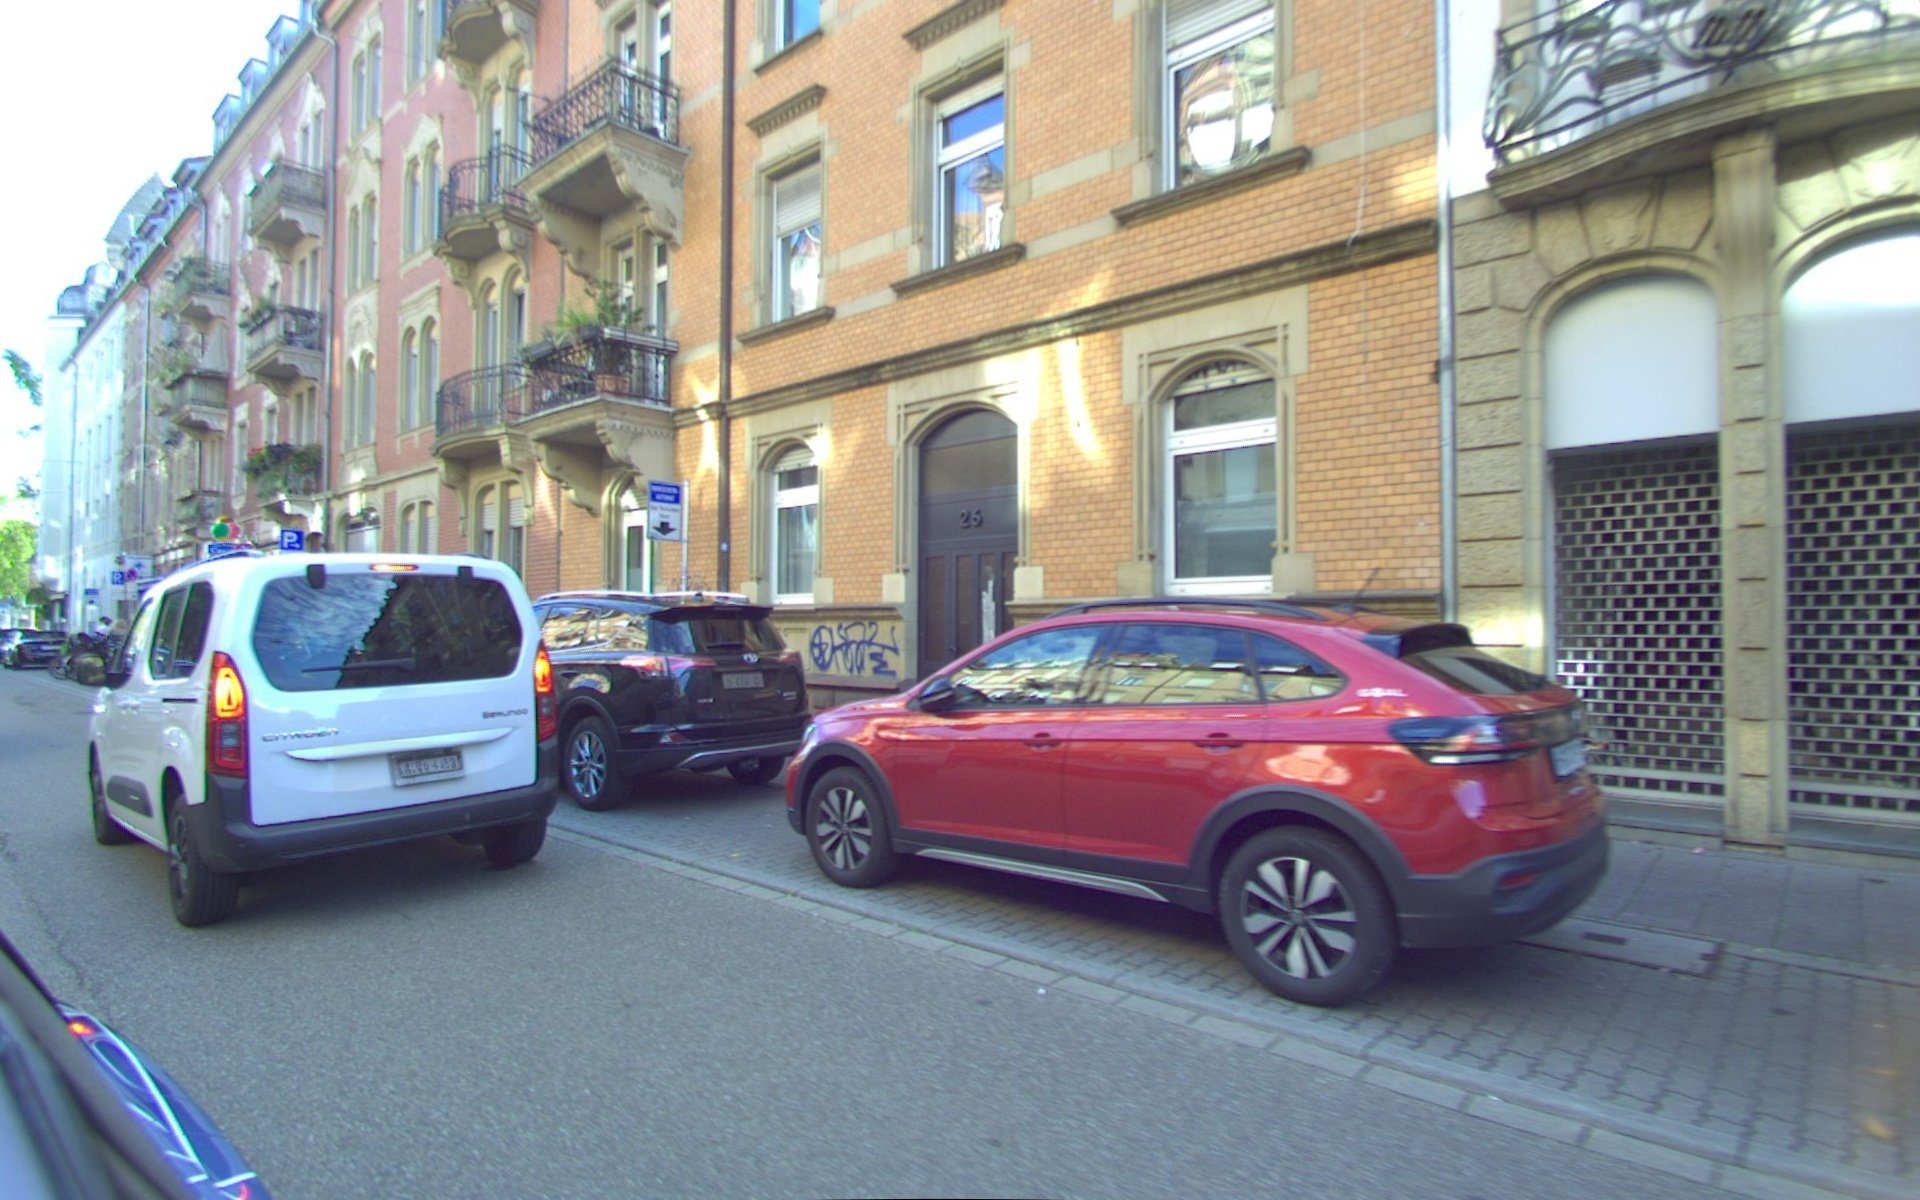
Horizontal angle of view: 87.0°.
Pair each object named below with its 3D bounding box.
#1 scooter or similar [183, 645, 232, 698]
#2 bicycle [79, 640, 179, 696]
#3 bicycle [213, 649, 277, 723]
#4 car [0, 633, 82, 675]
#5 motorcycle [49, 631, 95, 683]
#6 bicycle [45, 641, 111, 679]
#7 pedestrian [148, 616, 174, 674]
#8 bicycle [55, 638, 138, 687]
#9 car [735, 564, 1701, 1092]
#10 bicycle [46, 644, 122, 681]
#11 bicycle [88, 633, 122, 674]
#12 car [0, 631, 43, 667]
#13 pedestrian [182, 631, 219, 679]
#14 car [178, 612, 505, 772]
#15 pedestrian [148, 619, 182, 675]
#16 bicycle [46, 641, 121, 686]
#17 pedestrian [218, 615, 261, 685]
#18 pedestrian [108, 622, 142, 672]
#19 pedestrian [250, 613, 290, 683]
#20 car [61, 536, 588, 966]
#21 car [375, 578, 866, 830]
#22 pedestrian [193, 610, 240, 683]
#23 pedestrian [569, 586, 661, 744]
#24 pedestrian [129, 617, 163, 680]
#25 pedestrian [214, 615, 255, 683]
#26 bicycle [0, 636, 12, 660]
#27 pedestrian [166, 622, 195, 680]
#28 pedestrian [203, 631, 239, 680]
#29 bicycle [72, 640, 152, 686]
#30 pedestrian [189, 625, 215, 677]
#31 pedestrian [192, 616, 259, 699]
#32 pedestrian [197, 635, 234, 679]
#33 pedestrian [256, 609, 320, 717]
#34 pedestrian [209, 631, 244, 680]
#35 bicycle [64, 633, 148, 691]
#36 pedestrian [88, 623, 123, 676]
[{"bbox_3d":[-16.088,1.514,21.638,0.920,1.063,0.600,-2,-1,37],"label":"scooter or similar"},{"bbox_3d":[-19.136,1.529,23.377,0.795,1.168,2.275,-1,-1,-11],"label":"bicycle"},{"bbox_3d":[-11.732,1.373,16.647,0.475,1.067,1.911,-1,0,-24],"label":"bicycle"},{"bbox_3d":[-32.874,1.861,36.005,5.113,1.361,1.793,-2,-2,42],"label":"car"},{"bbox_3d":[-25.044,1.578,28.568,0.697,1.395,2.029,0,-1,-33],"label":"motorcycle"},{"bbox_3d":[-26.692,1.815,30.640,1.556,1.125,0.375,-1,-1,-9],"label":"bicycle"},{"bbox_3d":[-24.796,1.390,31.407,0.596,1.765,0.727,0,-2,-37],"label":"pedestrian"},{"bbox_3d":[-23.028,1.653,27.044,0.584,1.209,1.787,-1,-1,6],"label":"bicycle"},{"bbox_3d":[0.981,0.738,5.229,4.425,1.556,1.972,-1,-3,42],"label":"car"},{"bbox_3d":[-26.063,1.851,30.143,1.658,1.038,0.410,0,-1,-27],"label":"bicycle"},{"bbox_3d":[-24.431,1.510,28.925,0.570,1.098,1.742,0,-1,-35],"label":"bicycle"},{"bbox_3d":[-40.158,2.053,42.650,4.007,1.426,1.653,-2,-1,39],"label":"car"},{"bbox_3d":[-21.473,1.535,28.620,0.606,1.323,0.716,-2,-2,39],"label":"pedestrian"},{"bbox_3d":[-7.796,0.984,12.501,5.257,1.590,1.807,-2,-1,39],"label":"car"},{"bbox_3d":[-25.611,1.504,32.609,0.678,1.773,0.668,-1,-1,-18],"label":"pedestrian"},{"bbox_3d":[-23.625,1.689,27.300,0.583,1.129,1.568,-1,-1,6],"label":"bicycle"},{"bbox_3d":[-18.031,1.245,25.346,0.580,1.709,0.663,-1,-1,12],"label":"pedestrian"},{"bbox_3d":[-30.268,1.692,36.677,0.750,1.773,0.668,-1,-1,-18],"label":"pedestrian"},{"bbox_3d":[-17.227,1.195,25.265,0.763,1.709,0.656,-2,-2,42],"label":"pedestrian"},{"bbox_3d":[-4.353,0.699,6.581,4.439,1.842,1.896,-2,-2,44],"label":"car"},{"bbox_3d":[-3.255,0.787,9.097,4.888,1.694,1.854,-2,-2,39],"label":"car"},{"bbox_3d":[-19.371,1.200,26.373,0.659,1.868,0.761,-1,-1,11],"label":"pedestrian"},{"bbox_3d":[-4.173,0.755,12.217,0.747,1.822,0.864,0,-2,-44],"label":"pedestrian"},{"bbox_3d":[-25.023,1.475,31.128,0.637,1.906,0.603,-1,-1,-18],"label":"pedestrian"},{"bbox_3d":[-18.461,1.249,25.764,0.640,1.709,0.563,-1,-1,11],"label":"pedestrian"},{"bbox_3d":[-49.460,2.463,51.445,0.688,1.184,1.847,-2,-2,44],"label":"bicycle"},{"bbox_3d":[-22.139,1.446,28.735,0.584,1.629,0.547,-2,-2,42],"label":"pedestrian"},{"bbox_3d":[-20.427,1.512,27.993,0.439,1.323,0.710,-2,-2,38],"label":"pedestrian"},{"bbox_3d":[-22.440,1.662,26.818,0.548,1.129,1.735,-1,-1,6],"label":"bicycle"},{"bbox_3d":[-22.085,1.471,29.490,0.596,1.481,0.727,0,-2,-37],"label":"pedestrian"},{"bbox_3d":[-15.296,1.176,21.072,0.826,1.674,0.903,-2,-1,34],"label":"pedestrian"},{"bbox_3d":[-20.832,1.591,28.319,0.585,1.206,0.701,-2,-2,38],"label":"pedestrian"},{"bbox_3d":[-10.909,1.009,16.439,0.660,1.722,0.564,-1,-1,7],"label":"pedestrian"},{"bbox_3d":[-20.075,1.504,27.713,0.372,1.323,0.694,-2,-2,38],"label":"pedestrian"},{"bbox_3d":[-20.838,1.500,24.723,0.521,1.332,1.674,-1,-1,6],"label":"bicycle"},{"bbox_3d":[-30.212,1.751,35.785,0.750,1.832,0.668,-1,-1,-18],"label":"pedestrian"}]
